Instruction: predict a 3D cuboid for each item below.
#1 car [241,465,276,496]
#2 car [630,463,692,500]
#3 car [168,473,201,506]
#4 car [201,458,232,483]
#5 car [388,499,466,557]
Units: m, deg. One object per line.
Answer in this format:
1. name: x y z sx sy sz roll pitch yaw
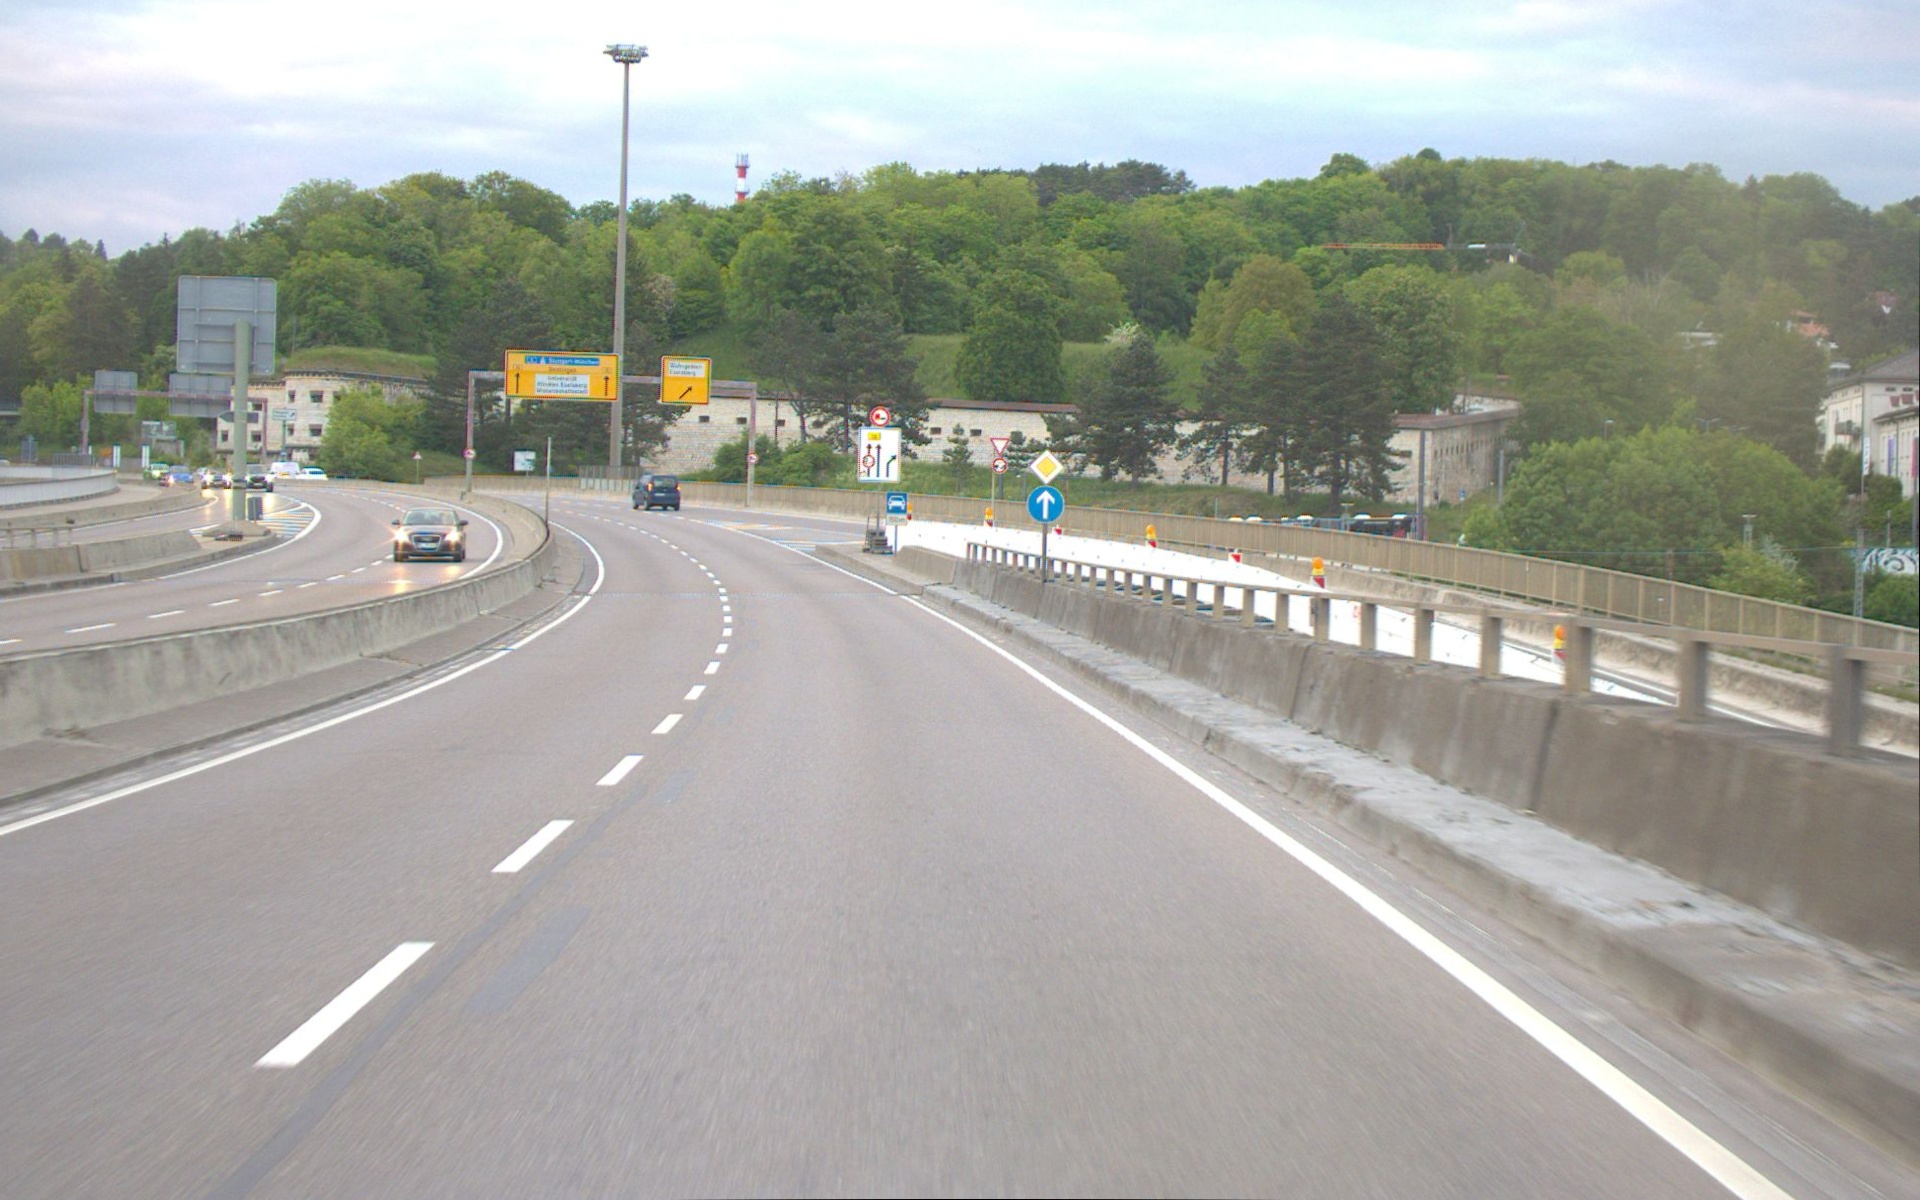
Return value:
1. car: -41.722 -7.108 204.398 1.636 1.711 4.001 -4 2 -15
2. car: -15.227 -6.035 175.017 2.304 1.757 4.264 2 2 -16
3. car: -54.452 -7.769 241.301 1.993 2.006 4.002 7 2 -14
4. car: -48.297 -8.416 223.277 1.795 1.481 3.843 1 1 -15
5. car: -14.061 -1.887 90.797 1.829 1.475 4.288 1 1 -6
